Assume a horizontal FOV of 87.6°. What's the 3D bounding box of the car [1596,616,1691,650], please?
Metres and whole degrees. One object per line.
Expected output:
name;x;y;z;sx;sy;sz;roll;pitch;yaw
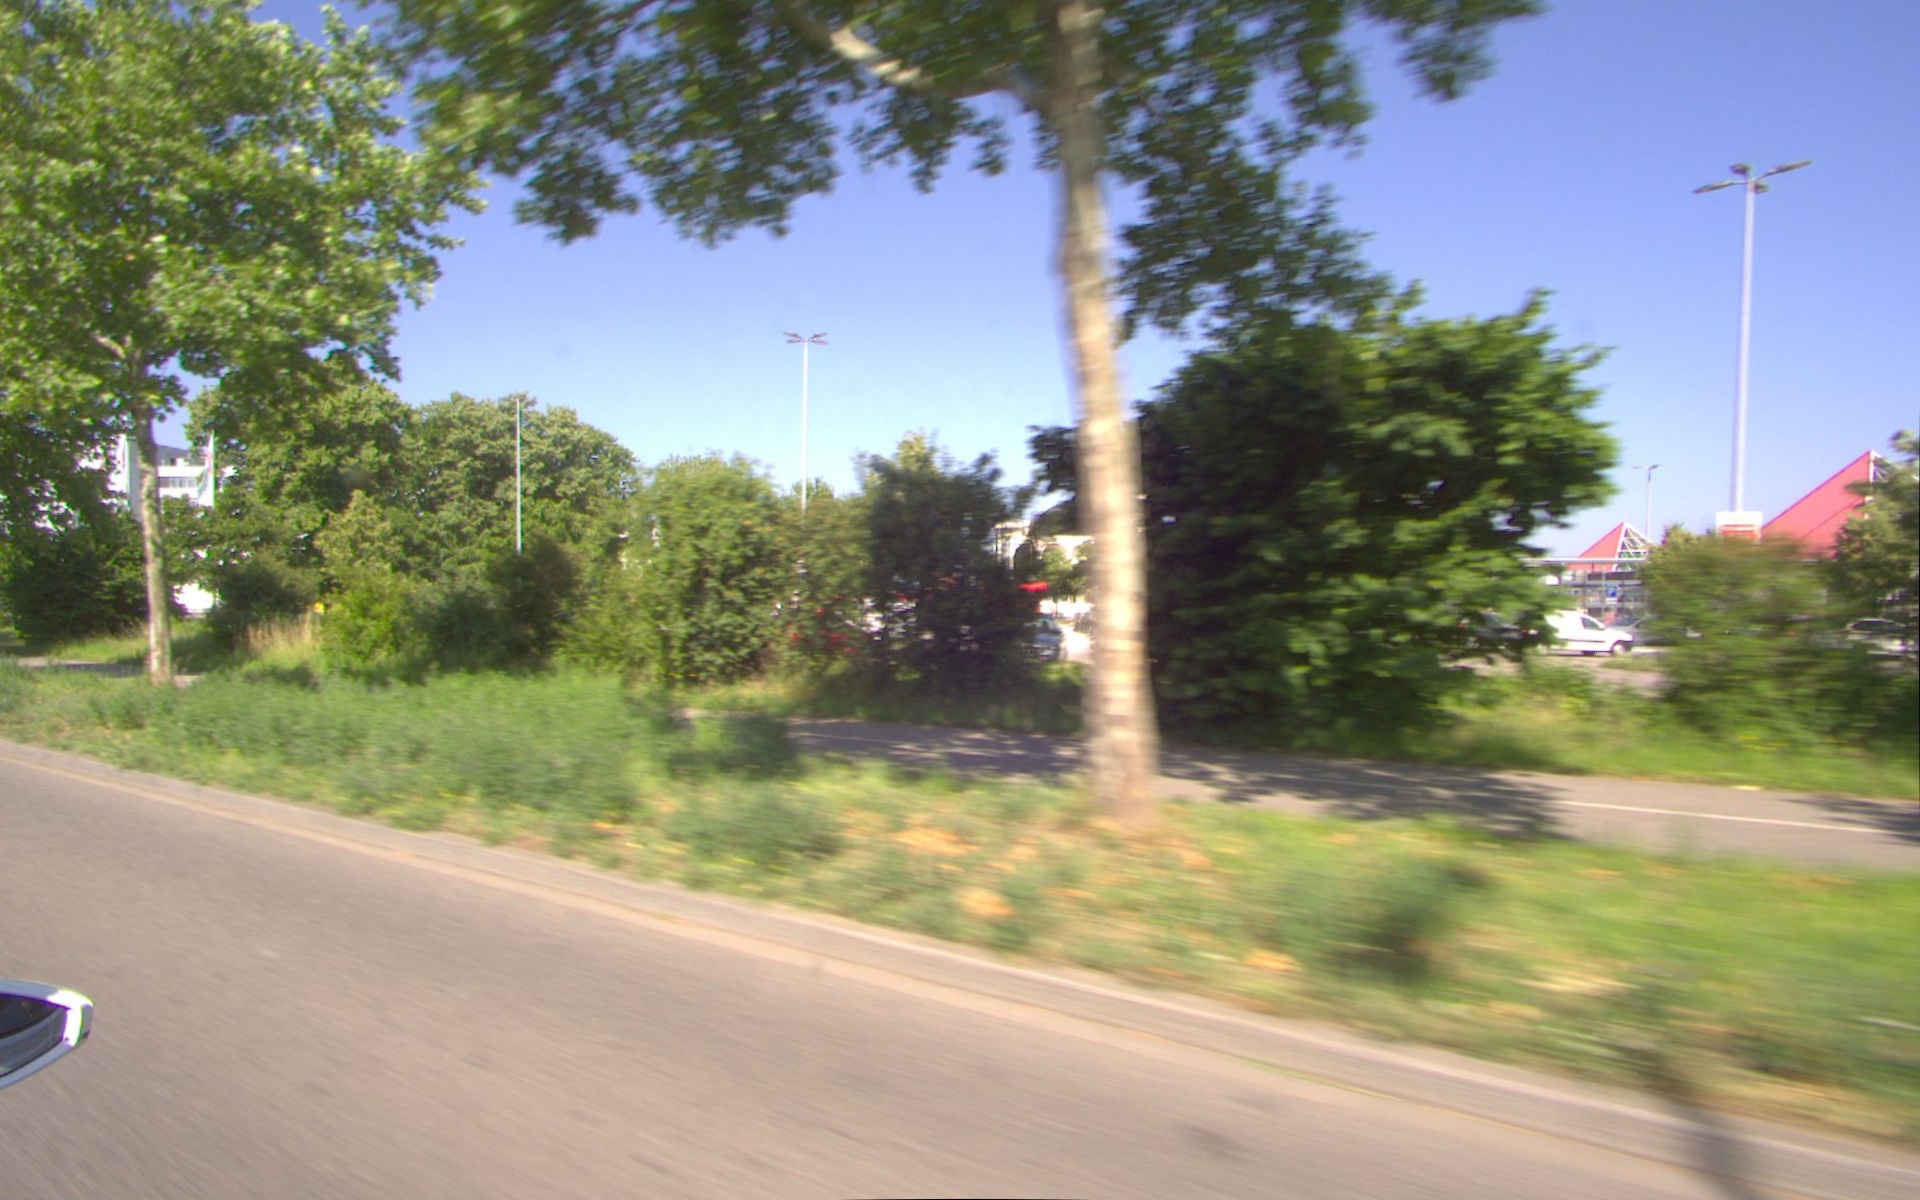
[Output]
car;33.170;1.619;48.655;3.449;1.572;1.685;1;-1;-1

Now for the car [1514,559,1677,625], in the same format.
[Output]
car;39.993;-0.470;63.192;8.710;4.000;2.455;1;-1;1

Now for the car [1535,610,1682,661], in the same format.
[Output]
car;22.297;1.222;34.514;3.924;1.672;2.000;1;-1;-8
